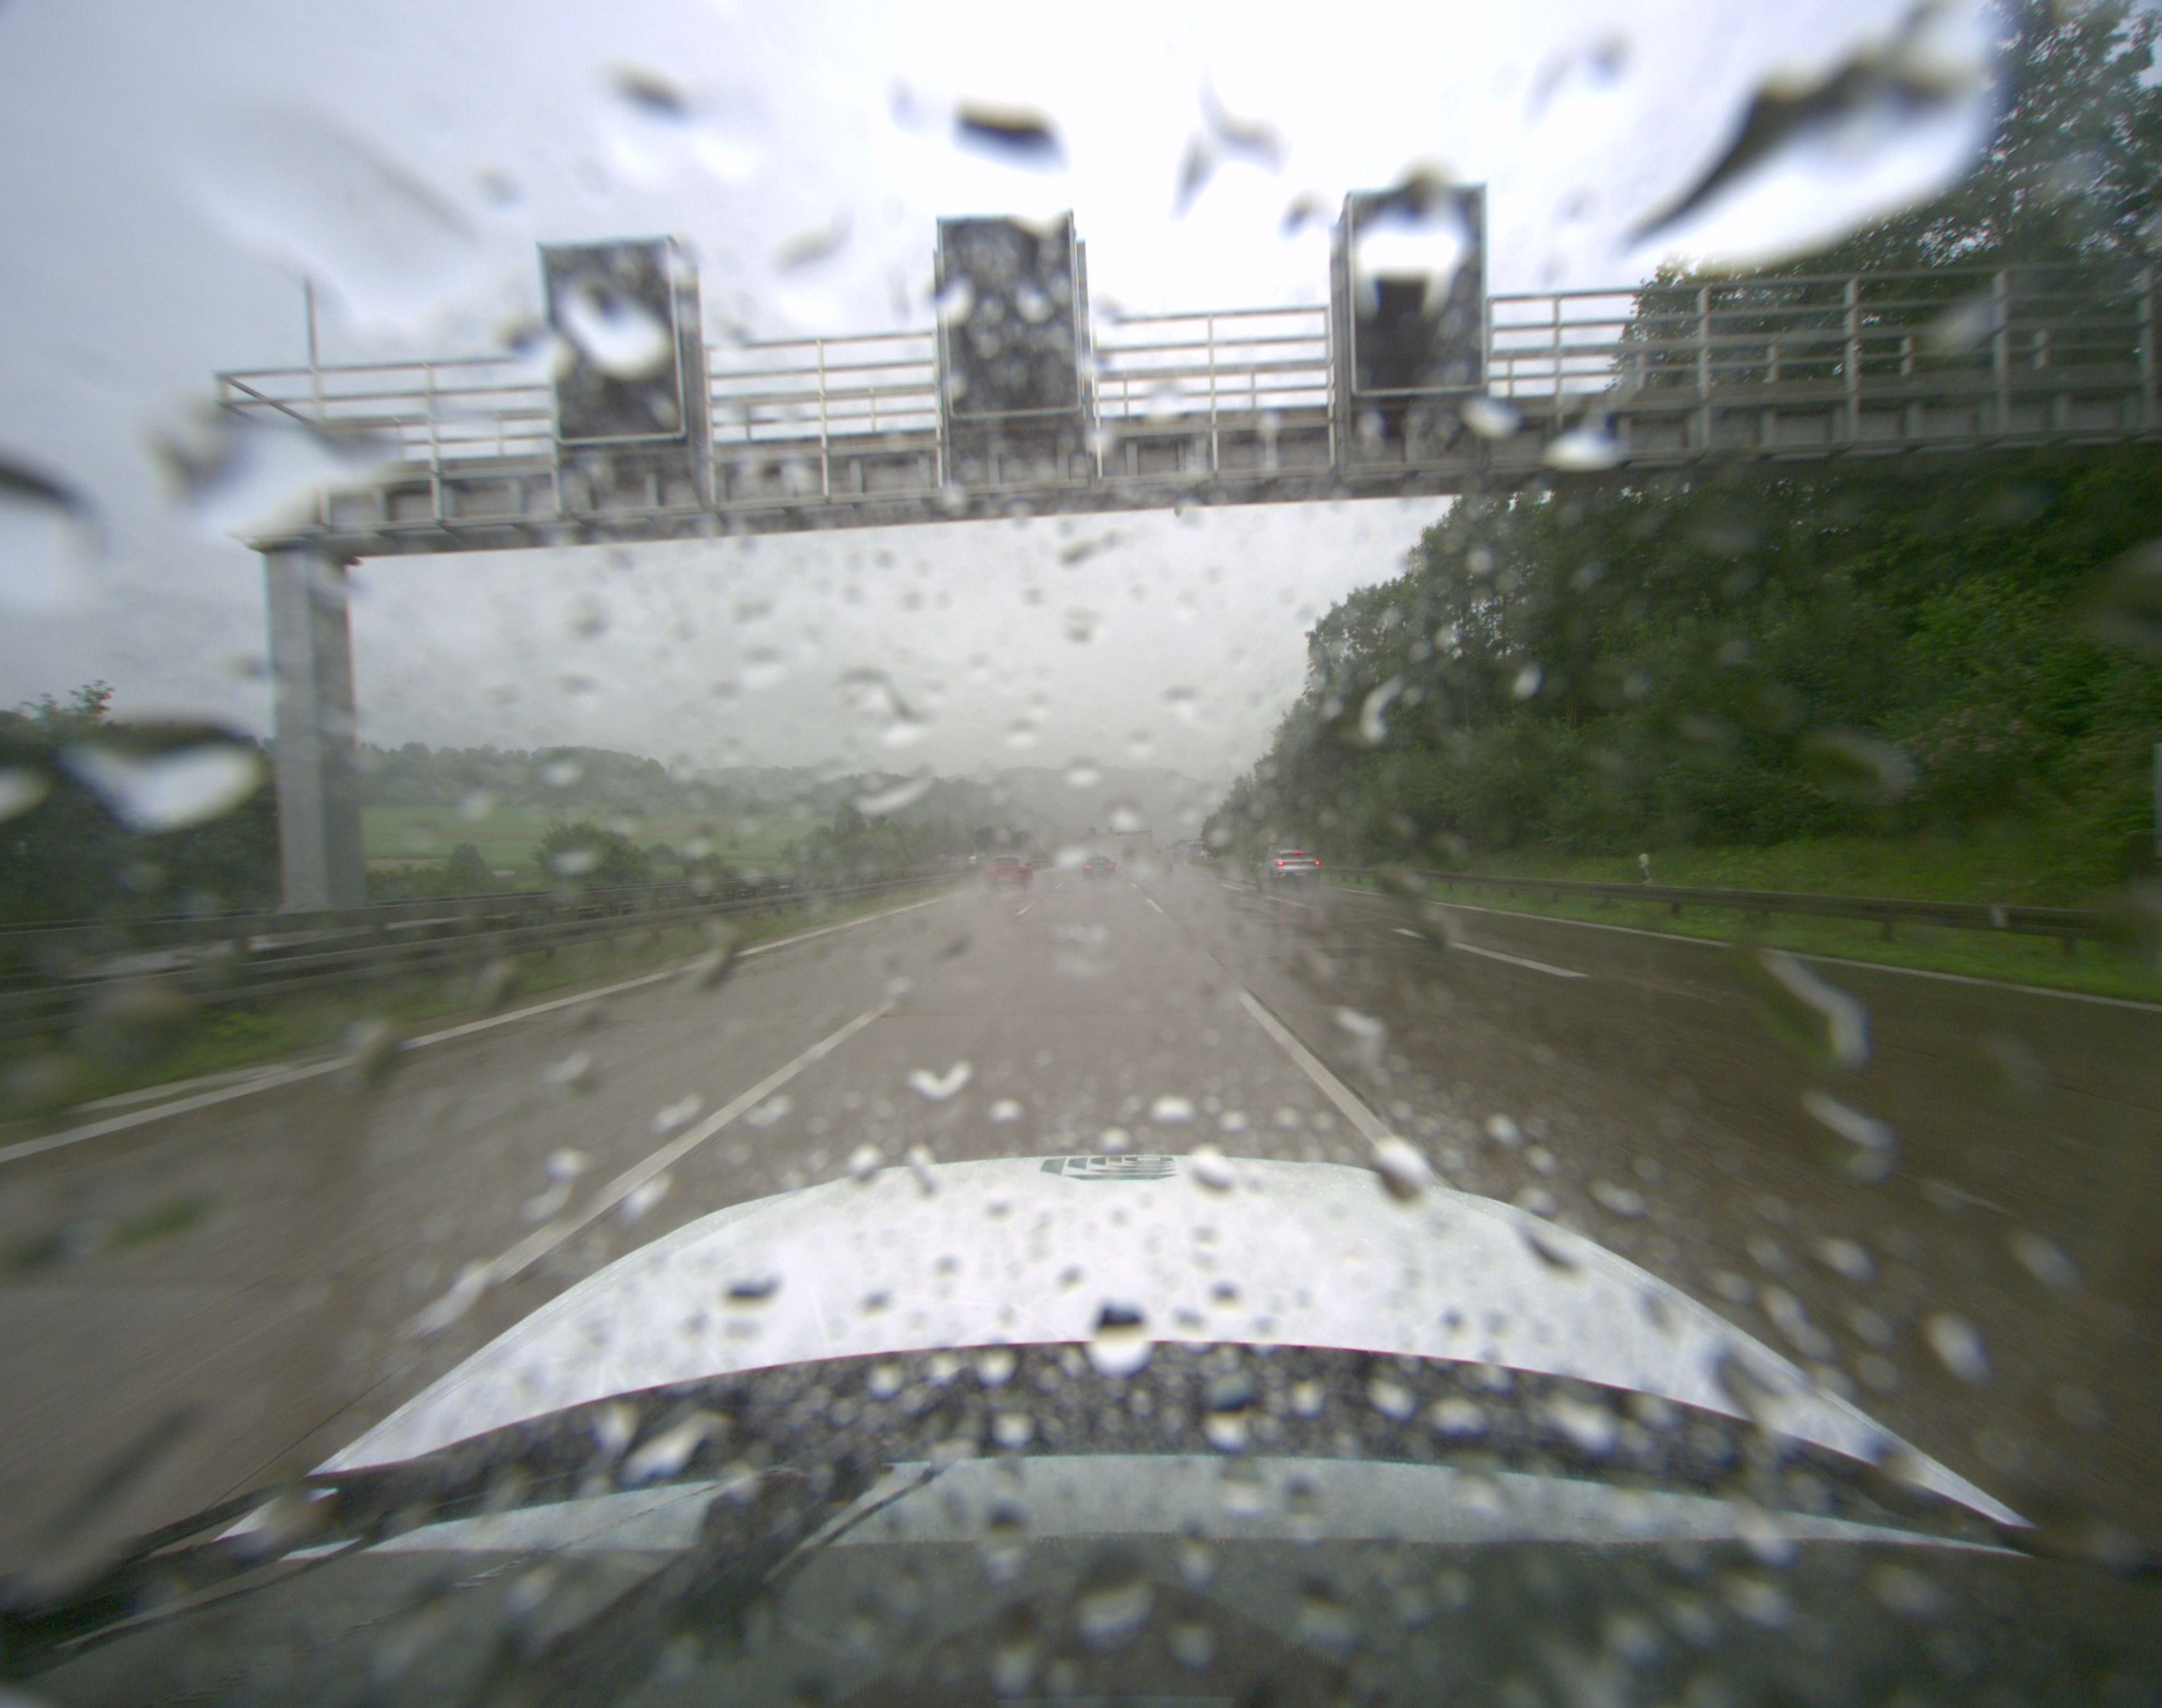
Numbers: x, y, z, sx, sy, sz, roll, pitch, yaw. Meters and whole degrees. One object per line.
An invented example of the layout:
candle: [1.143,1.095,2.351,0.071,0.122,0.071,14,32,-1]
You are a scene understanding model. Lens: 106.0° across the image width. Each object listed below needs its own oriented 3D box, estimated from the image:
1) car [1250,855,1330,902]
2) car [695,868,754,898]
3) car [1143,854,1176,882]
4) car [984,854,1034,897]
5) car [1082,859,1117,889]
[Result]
car: [8.377,0.933,33.233,1.986,1.750,5.664,0,0,2]
car: [-23.014,1.834,52.734,1.986,1.782,4.001,0,0,2]
car: [5.299,0.921,55.630,1.964,1.760,4.002,-1,0,2]
car: [-3.255,0.936,37.593,1.878,1.816,4.000,-1,0,1]
car: [1.072,1.079,45.541,1.852,1.589,4.001,0,0,2]
